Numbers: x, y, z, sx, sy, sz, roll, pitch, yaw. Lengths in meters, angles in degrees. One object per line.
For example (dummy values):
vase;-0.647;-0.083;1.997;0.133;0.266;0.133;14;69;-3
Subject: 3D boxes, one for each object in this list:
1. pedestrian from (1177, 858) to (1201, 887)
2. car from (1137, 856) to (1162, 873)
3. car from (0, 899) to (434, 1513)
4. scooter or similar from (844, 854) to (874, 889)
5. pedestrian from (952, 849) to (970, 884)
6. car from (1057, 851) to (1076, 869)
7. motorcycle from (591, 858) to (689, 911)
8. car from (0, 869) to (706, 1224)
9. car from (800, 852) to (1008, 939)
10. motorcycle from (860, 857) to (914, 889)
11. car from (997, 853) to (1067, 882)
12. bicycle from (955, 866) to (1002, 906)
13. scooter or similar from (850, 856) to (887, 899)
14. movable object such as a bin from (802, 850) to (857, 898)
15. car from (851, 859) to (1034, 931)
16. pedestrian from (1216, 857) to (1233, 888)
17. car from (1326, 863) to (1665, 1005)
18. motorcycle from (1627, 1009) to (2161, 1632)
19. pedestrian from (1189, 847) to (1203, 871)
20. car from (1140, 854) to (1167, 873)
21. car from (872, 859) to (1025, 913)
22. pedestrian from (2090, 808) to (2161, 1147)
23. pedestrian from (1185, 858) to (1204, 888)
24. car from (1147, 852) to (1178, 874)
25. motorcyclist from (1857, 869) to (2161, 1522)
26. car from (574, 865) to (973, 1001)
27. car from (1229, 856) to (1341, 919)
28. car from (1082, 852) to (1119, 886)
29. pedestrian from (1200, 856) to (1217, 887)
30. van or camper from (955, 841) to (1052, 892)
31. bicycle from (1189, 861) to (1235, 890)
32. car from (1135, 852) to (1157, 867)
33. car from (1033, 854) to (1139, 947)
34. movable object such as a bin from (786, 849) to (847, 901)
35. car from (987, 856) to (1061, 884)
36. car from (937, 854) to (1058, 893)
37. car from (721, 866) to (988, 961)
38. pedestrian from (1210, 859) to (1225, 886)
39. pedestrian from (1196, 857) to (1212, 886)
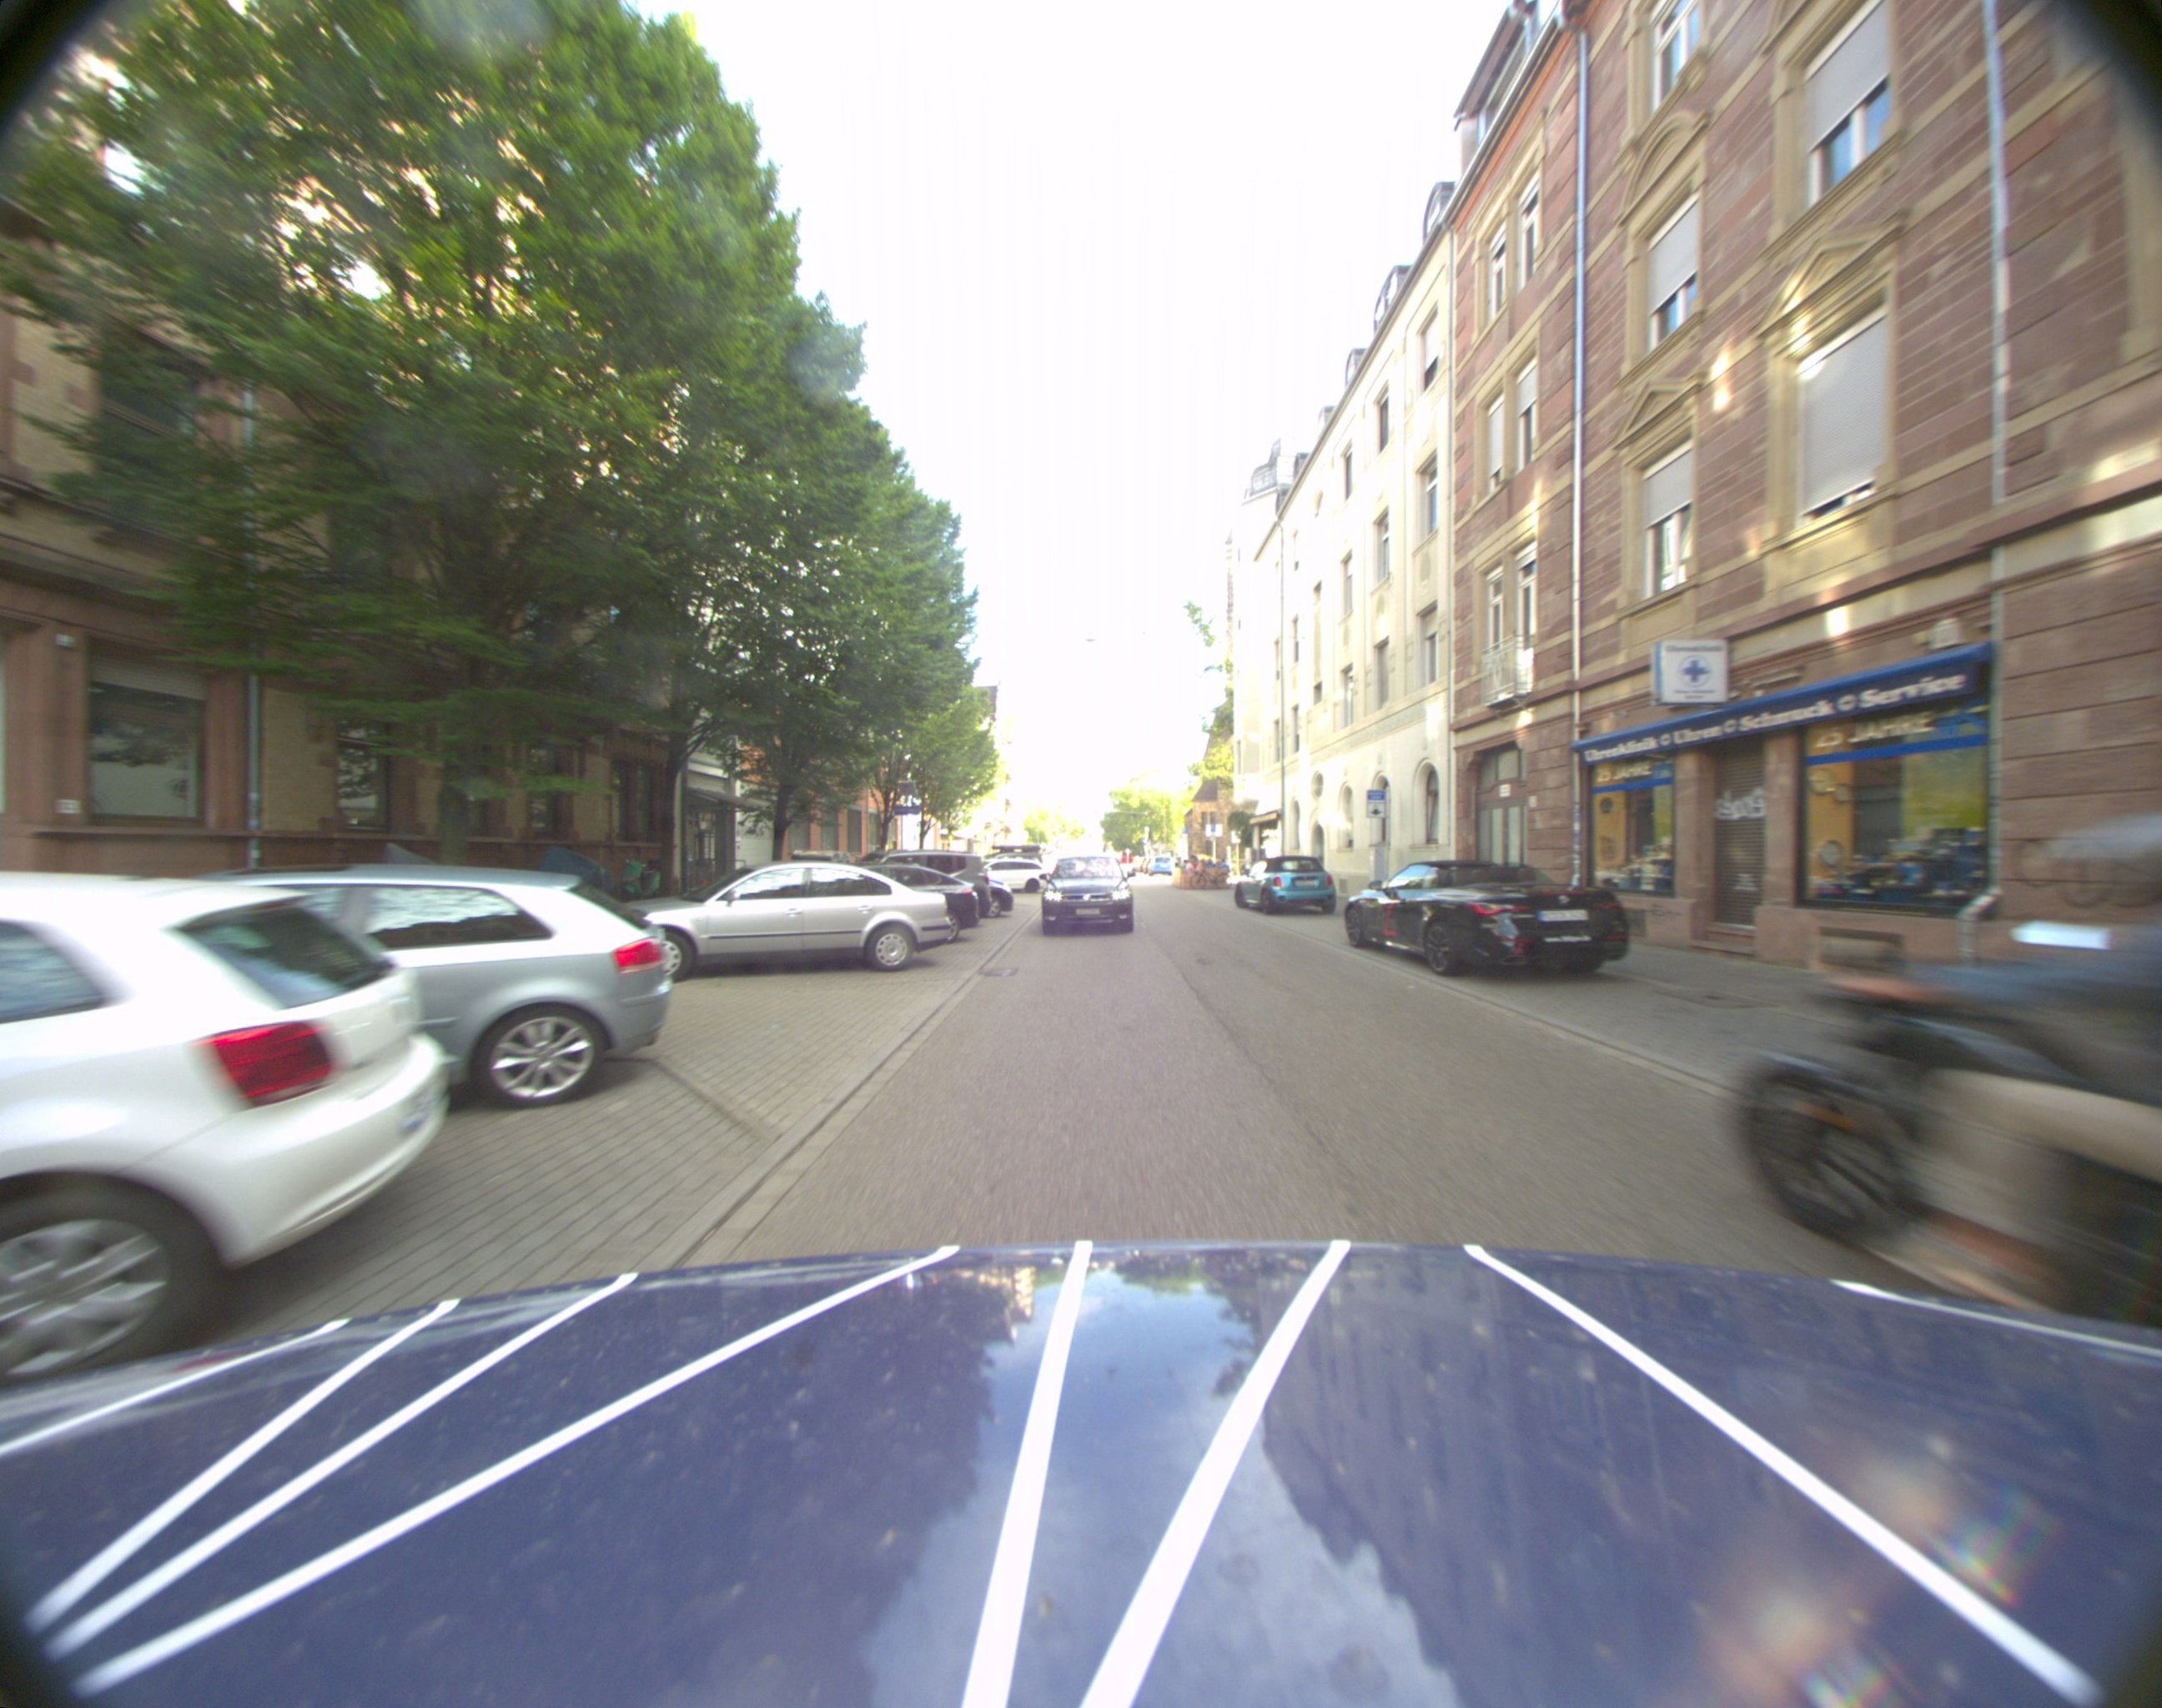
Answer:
pedestrian;5.287;0.874;37.050;1.088;1.365;0.895;-1;1;9
car;6.144;0.908;68.832;1.911;1.412;4.000;-2;0;1
car;-4.460;0.901;1.938;4.008;1.442;1.731;3;1;-31
scooter or similar;-8.729;0.689;29.866;0.526;1.306;1.317;3;1;-44
pedestrian;-6.092;0.620;38.591;0.754;1.728;0.952;3;0;-3
car;-1.587;0.697;85.401;1.810;1.914;4.001;-3;0;2
motorcycle;-10.691;0.704;18.567;0.896;1.180;2.491;-2;0;0
car;-4.599;0.873;4.498;4.008;1.453;1.882;1;1;-35
car;-3.795;0.817;16.476;4.007;1.689;1.848;0;-1;-34
motorcycle;-7.956;0.773;31.236;1.984;1.220;0.827;3;1;-1
car;-3.166;0.842;49.164;4.006;1.663;1.923;-2;0;-31
bicycle;-3.347;1.028;24.745;0.703;1.205;1.744;-2;1;-39
scooter or similar;-7.022;0.756;25.139;0.524;1.372;1.323;-1;1;15
movable object such as a bin;-8.293;0.649;25.086;1.375;1.438;1.037;5;0;-1
car;-3.462;0.951;19.303;4.133;1.512;1.840;-2;1;-35
pedestrian;6.362;0.822;33.746;0.637;1.364;0.684;-2;1;5
car;5.064;0.850;10.333;1.816;1.343;5.115;-1;0;0
motorcycle;2.625;1.117;1.718;0.796;0.989;2.498;-2;0;-6
pedestrian;8.329;0.372;55.198;0.845;1.699;0.879;-2;1;1
car;5.947;0.745;62.518;1.911;1.412;4.000;-2;0;1
car;-3.814;0.913;21.945;4.006;1.430;1.721;1;0;-26
pedestrian;5.991;0.624;3.902;0.761;1.749;0.667;-1;1;31
pedestrian;5.139;0.867;34.449;0.738;1.341;0.644;-2;1;4
car;5.993;0.634;56.149;1.828;1.477;4.170;-2;0;1
motorcyclist;2.587;0.671;1.642;1.016;1.238;0.802;-2;1;-5
car;-3.961;0.923;10.200;4.620;1.443;1.788;1;0;-31
car;5.204;0.794;19.933;1.674;1.407;4.011;-2;0;-3
car;1.049;0.765;40.350;1.810;1.622;4.001;-3;0;2
pedestrian;5.677;0.772;33.861;0.689;1.365;0.739;-2;1;5
van or camper;-3.596;0.540;35.304;4.006;2.166;1.995;-2;1;-29
bicycle;5.626;0.929;32.772;1.872;1.168;0.688;-2;1;3
car;6.435;0.545;75.717;1.911;1.412;4.000;-2;0;1
car;0.255;0.850;16.114;1.874;1.644;4.388;-2;0;5
movable object such as a bin;-8.307;0.646;23.962;1.375;1.451;1.164;7;0;-1
car;-3.464;0.937;46.308;4.006;1.499;1.995;-2;0;-31
car;-3.561;0.843;32.763;4.817;1.535;1.866;1;1;-31
car;-3.941;0.938;13.438;4.145;1.409;1.864;0;-1;-34
pedestrian;6.313;0.859;35.120;0.597;1.236;0.694;-1;1;8
pedestrian;5.693;0.805;35.237;0.668;1.328;0.740;-1;1;8
